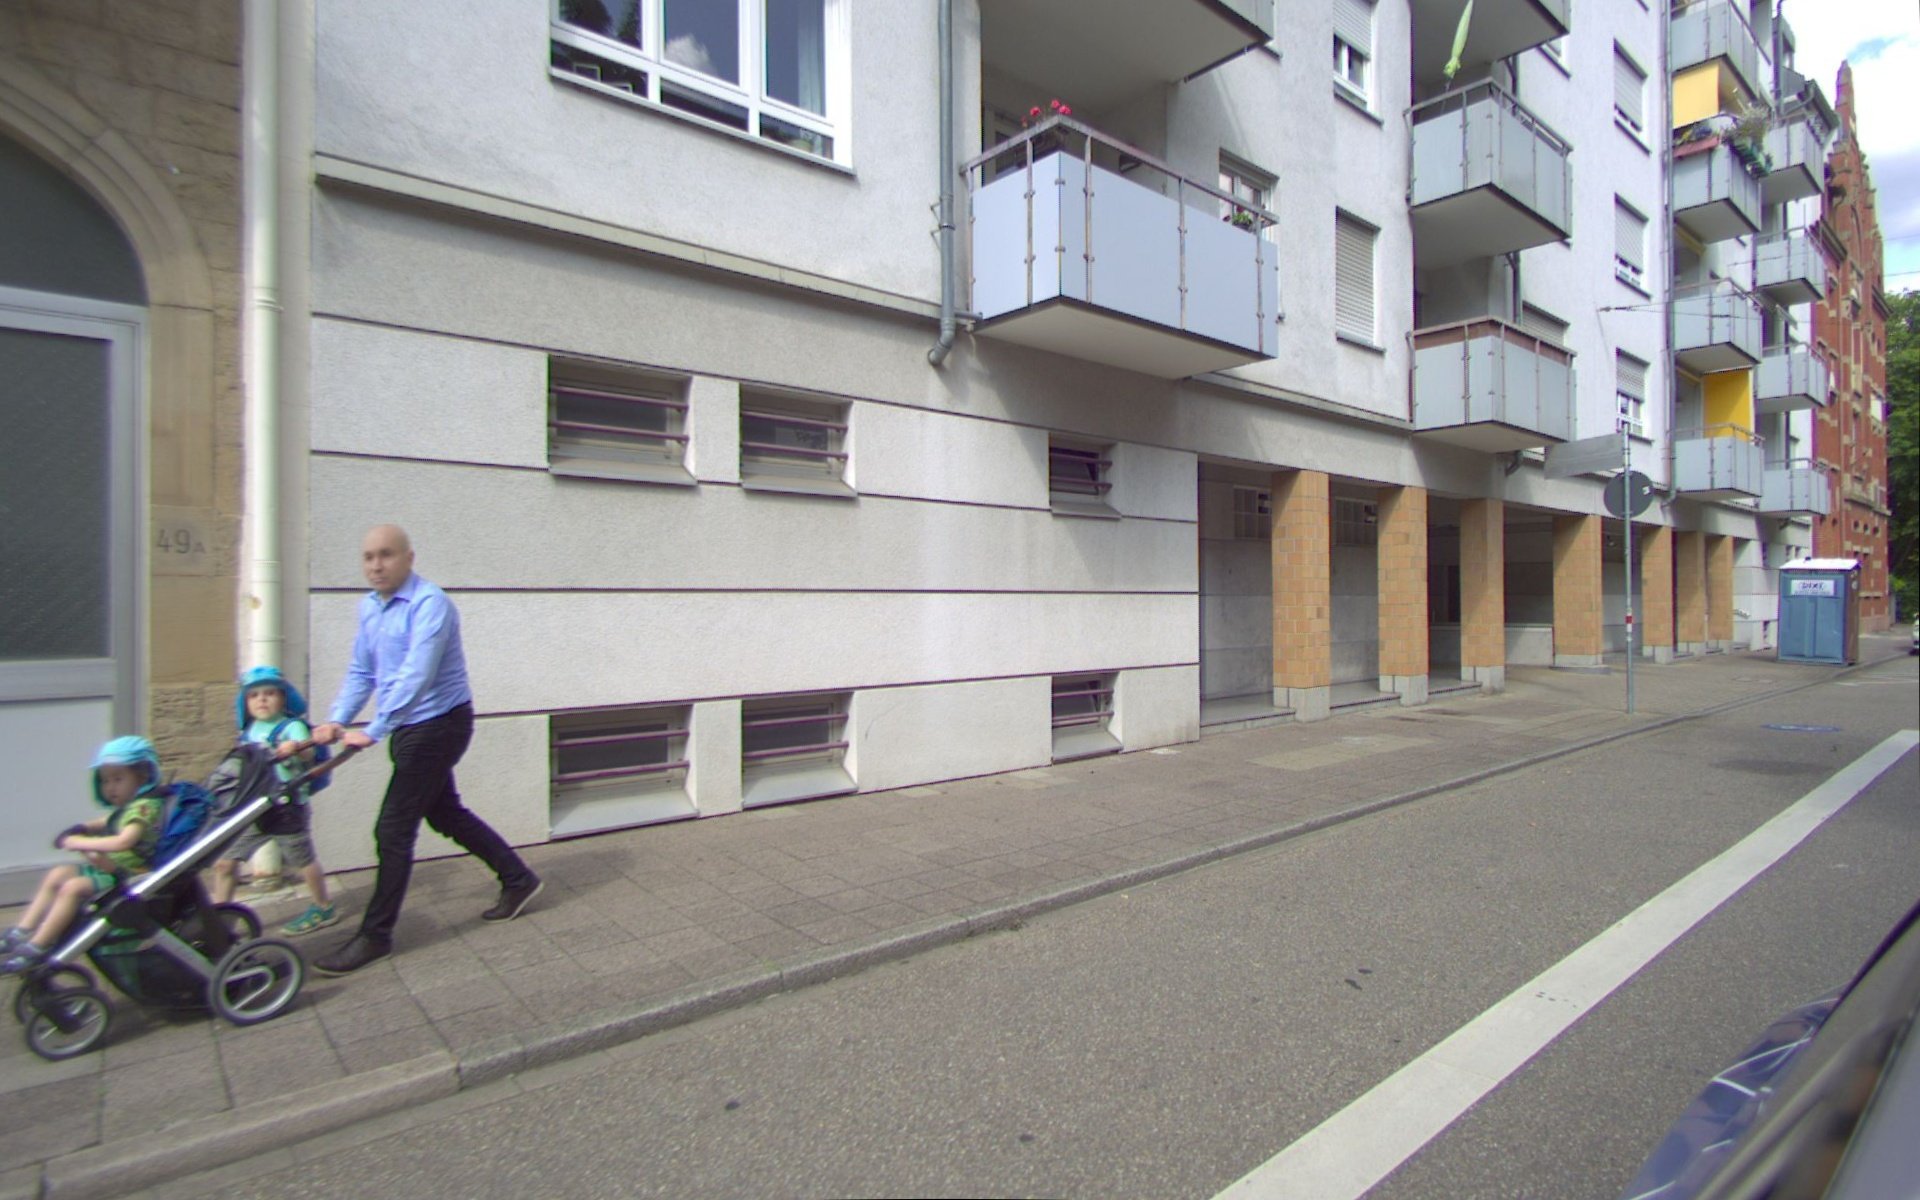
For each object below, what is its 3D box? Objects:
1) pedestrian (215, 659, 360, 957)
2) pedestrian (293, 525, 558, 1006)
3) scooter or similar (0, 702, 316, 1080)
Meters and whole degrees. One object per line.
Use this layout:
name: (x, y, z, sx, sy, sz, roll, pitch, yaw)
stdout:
pedestrian: (-2.919, 0.852, 4.390, 0.485, 1.149, 0.457, 0, -1, -39)
pedestrian: (-2.216, 0.591, 4.200, 0.861, 1.760, 0.622, 0, 2, -39)
scooter or similar: (-2.804, 0.931, 3.519, 0.889, 1.014, 0.594, 0, 3, -40)
